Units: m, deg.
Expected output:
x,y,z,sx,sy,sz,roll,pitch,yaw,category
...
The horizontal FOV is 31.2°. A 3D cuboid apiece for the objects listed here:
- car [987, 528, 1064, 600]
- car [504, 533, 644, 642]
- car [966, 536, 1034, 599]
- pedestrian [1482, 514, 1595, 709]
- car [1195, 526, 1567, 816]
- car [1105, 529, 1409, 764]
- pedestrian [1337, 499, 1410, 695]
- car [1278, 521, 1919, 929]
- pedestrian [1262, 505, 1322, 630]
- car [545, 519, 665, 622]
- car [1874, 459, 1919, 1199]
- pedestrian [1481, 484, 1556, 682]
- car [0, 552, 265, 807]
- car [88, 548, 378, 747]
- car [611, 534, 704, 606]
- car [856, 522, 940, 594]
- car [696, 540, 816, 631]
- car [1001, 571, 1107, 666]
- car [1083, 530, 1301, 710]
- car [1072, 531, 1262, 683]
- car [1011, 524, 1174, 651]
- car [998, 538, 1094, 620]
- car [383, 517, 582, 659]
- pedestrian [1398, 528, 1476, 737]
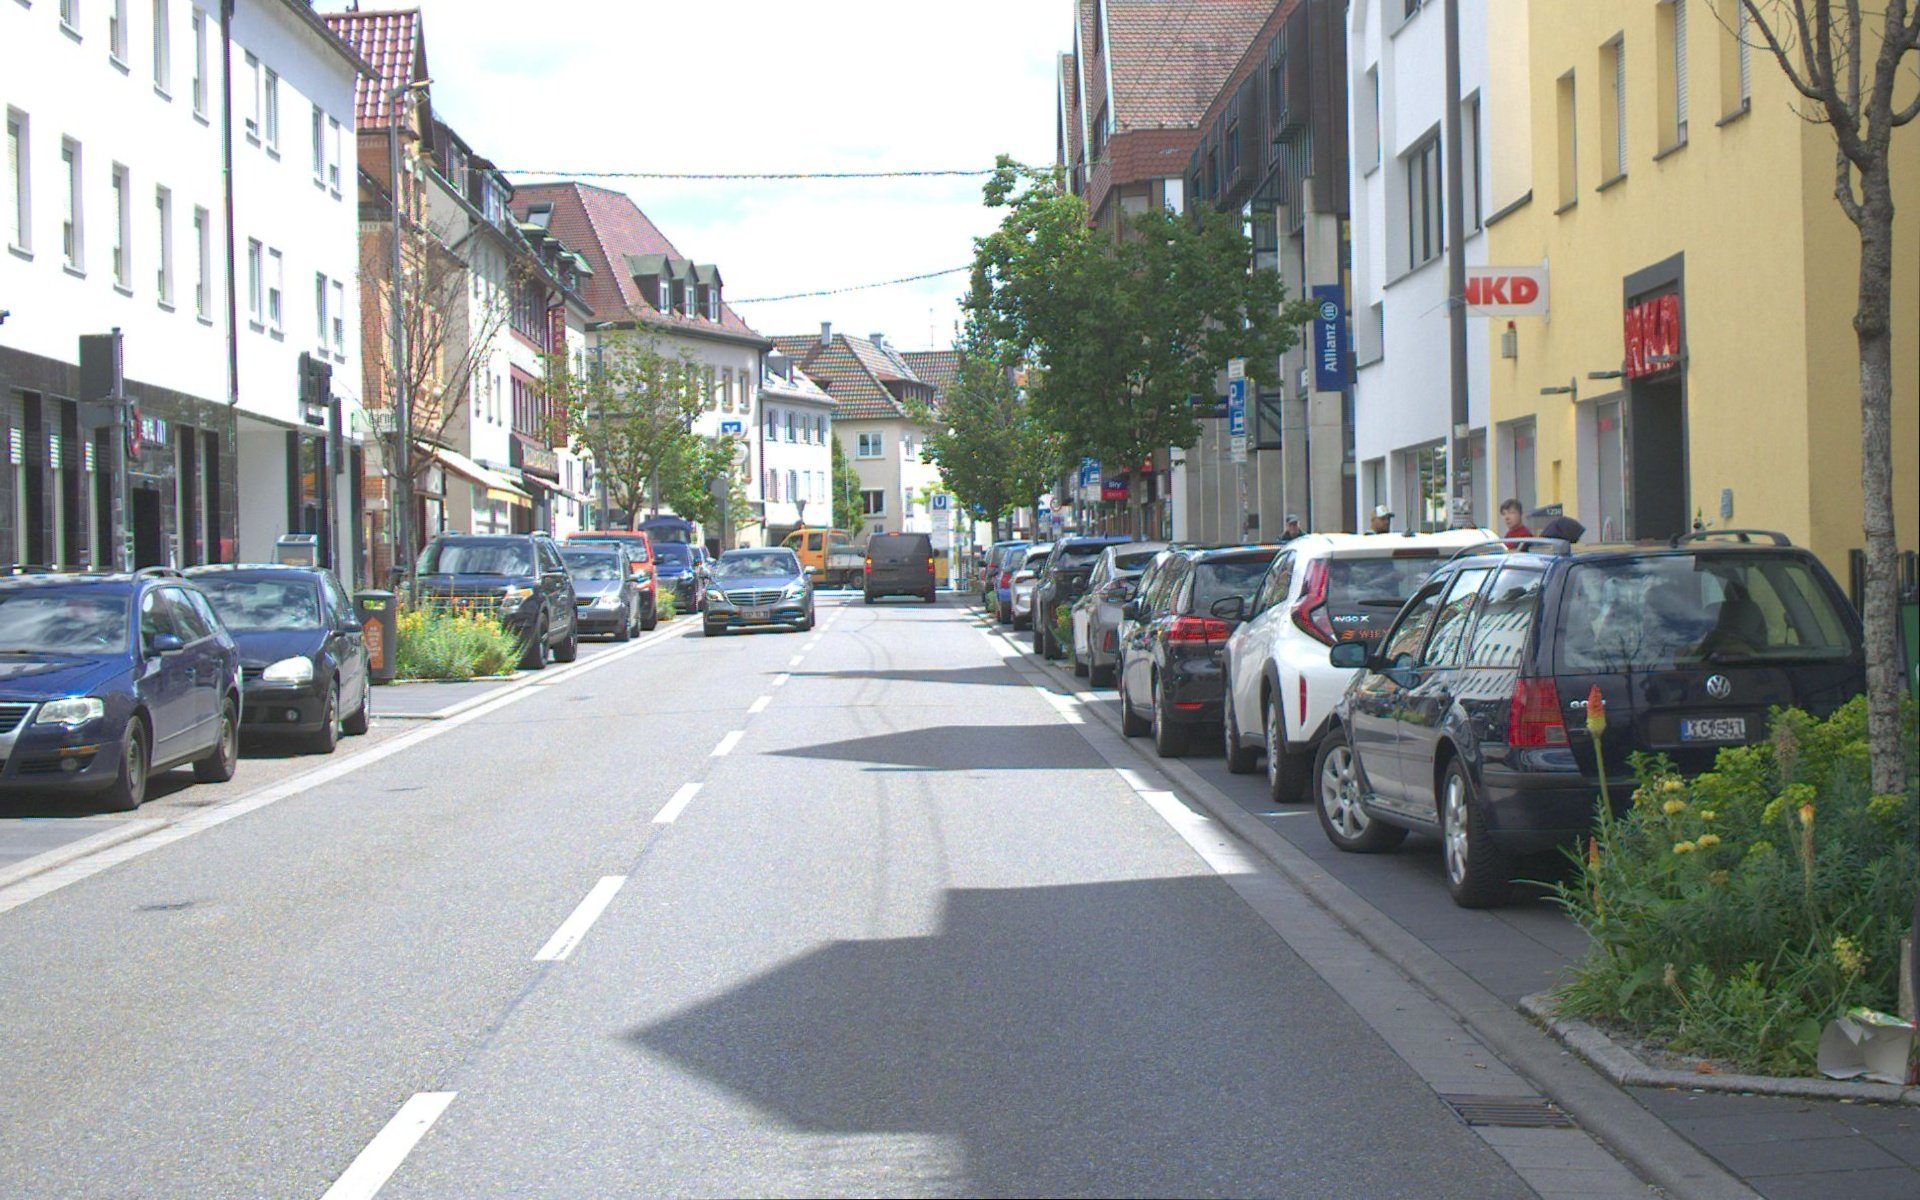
x,y,z,sx,sy,sz,roll,pitch,yaw,category
1.426,-0.808,76.076,1.609,1.527,3.795,-2,1,0,car
-6.511,-0.206,58.350,1.816,1.749,4.464,1,0,0,car
1.008,-0.850,88.133,1.609,1.490,3.795,-4,1,0,car
4.681,0.092,27.868,0.749,1.548,0.726,-1,0,-2,pedestrian
2.440,0.382,20.747,1.689,1.568,3.756,1,0,-1,car
2.088,0.264,25.312,1.689,1.467,4.524,1,2,-2,car
3.903,-0.029,32.477,0.588,1.834,0.576,1,0,0,pedestrian
2.621,0.456,15.006,1.689,1.435,4.296,-3,0,-4,car
4.694,-0.457,48.639,0.741,1.731,0.757,1,0,0,pedestrian
-6.810,-0.558,66.344,1.816,1.882,4.841,1,0,0,car
2.933,0.512,5.153,1.799,1.598,4.204,-2,1,-2,car
5.245,-0.162,32.304,0.588,1.834,0.576,1,0,0,pedestrian
-5.920,0.438,22.713,1.790,1.507,4.713,0,1,-1,car
-5.911,0.336,28.391,1.790,1.498,4.179,1,1,-4,car
-6.896,-0.710,78.817,1.799,1.592,4.389,0,1,-1,car
-1.617,-1.095,91.476,2.041,1.842,4.999,1,0,1,car
-3.621,-0.258,61.735,1.905,1.558,4.646,1,0,-1,car
1.602,0.301,59.976,1.721,1.571,4.428,1,0,0,car
2.012,0.157,31.006,1.630,1.471,4.957,1,0,0,car
2.101,0.064,35.911,1.721,1.471,4.354,1,0,0,car
1.693,-0.159,45.239,1.721,1.571,4.109,1,0,-4,car
1.600,-0.387,65.098,1.721,1.488,4.109,1,0,0,car
-6.227,-0.159,45.273,1.816,1.749,4.668,1,0,2,car
4.224,0.284,30.476,0.588,1.834,0.576,1,0,0,pedestrian
